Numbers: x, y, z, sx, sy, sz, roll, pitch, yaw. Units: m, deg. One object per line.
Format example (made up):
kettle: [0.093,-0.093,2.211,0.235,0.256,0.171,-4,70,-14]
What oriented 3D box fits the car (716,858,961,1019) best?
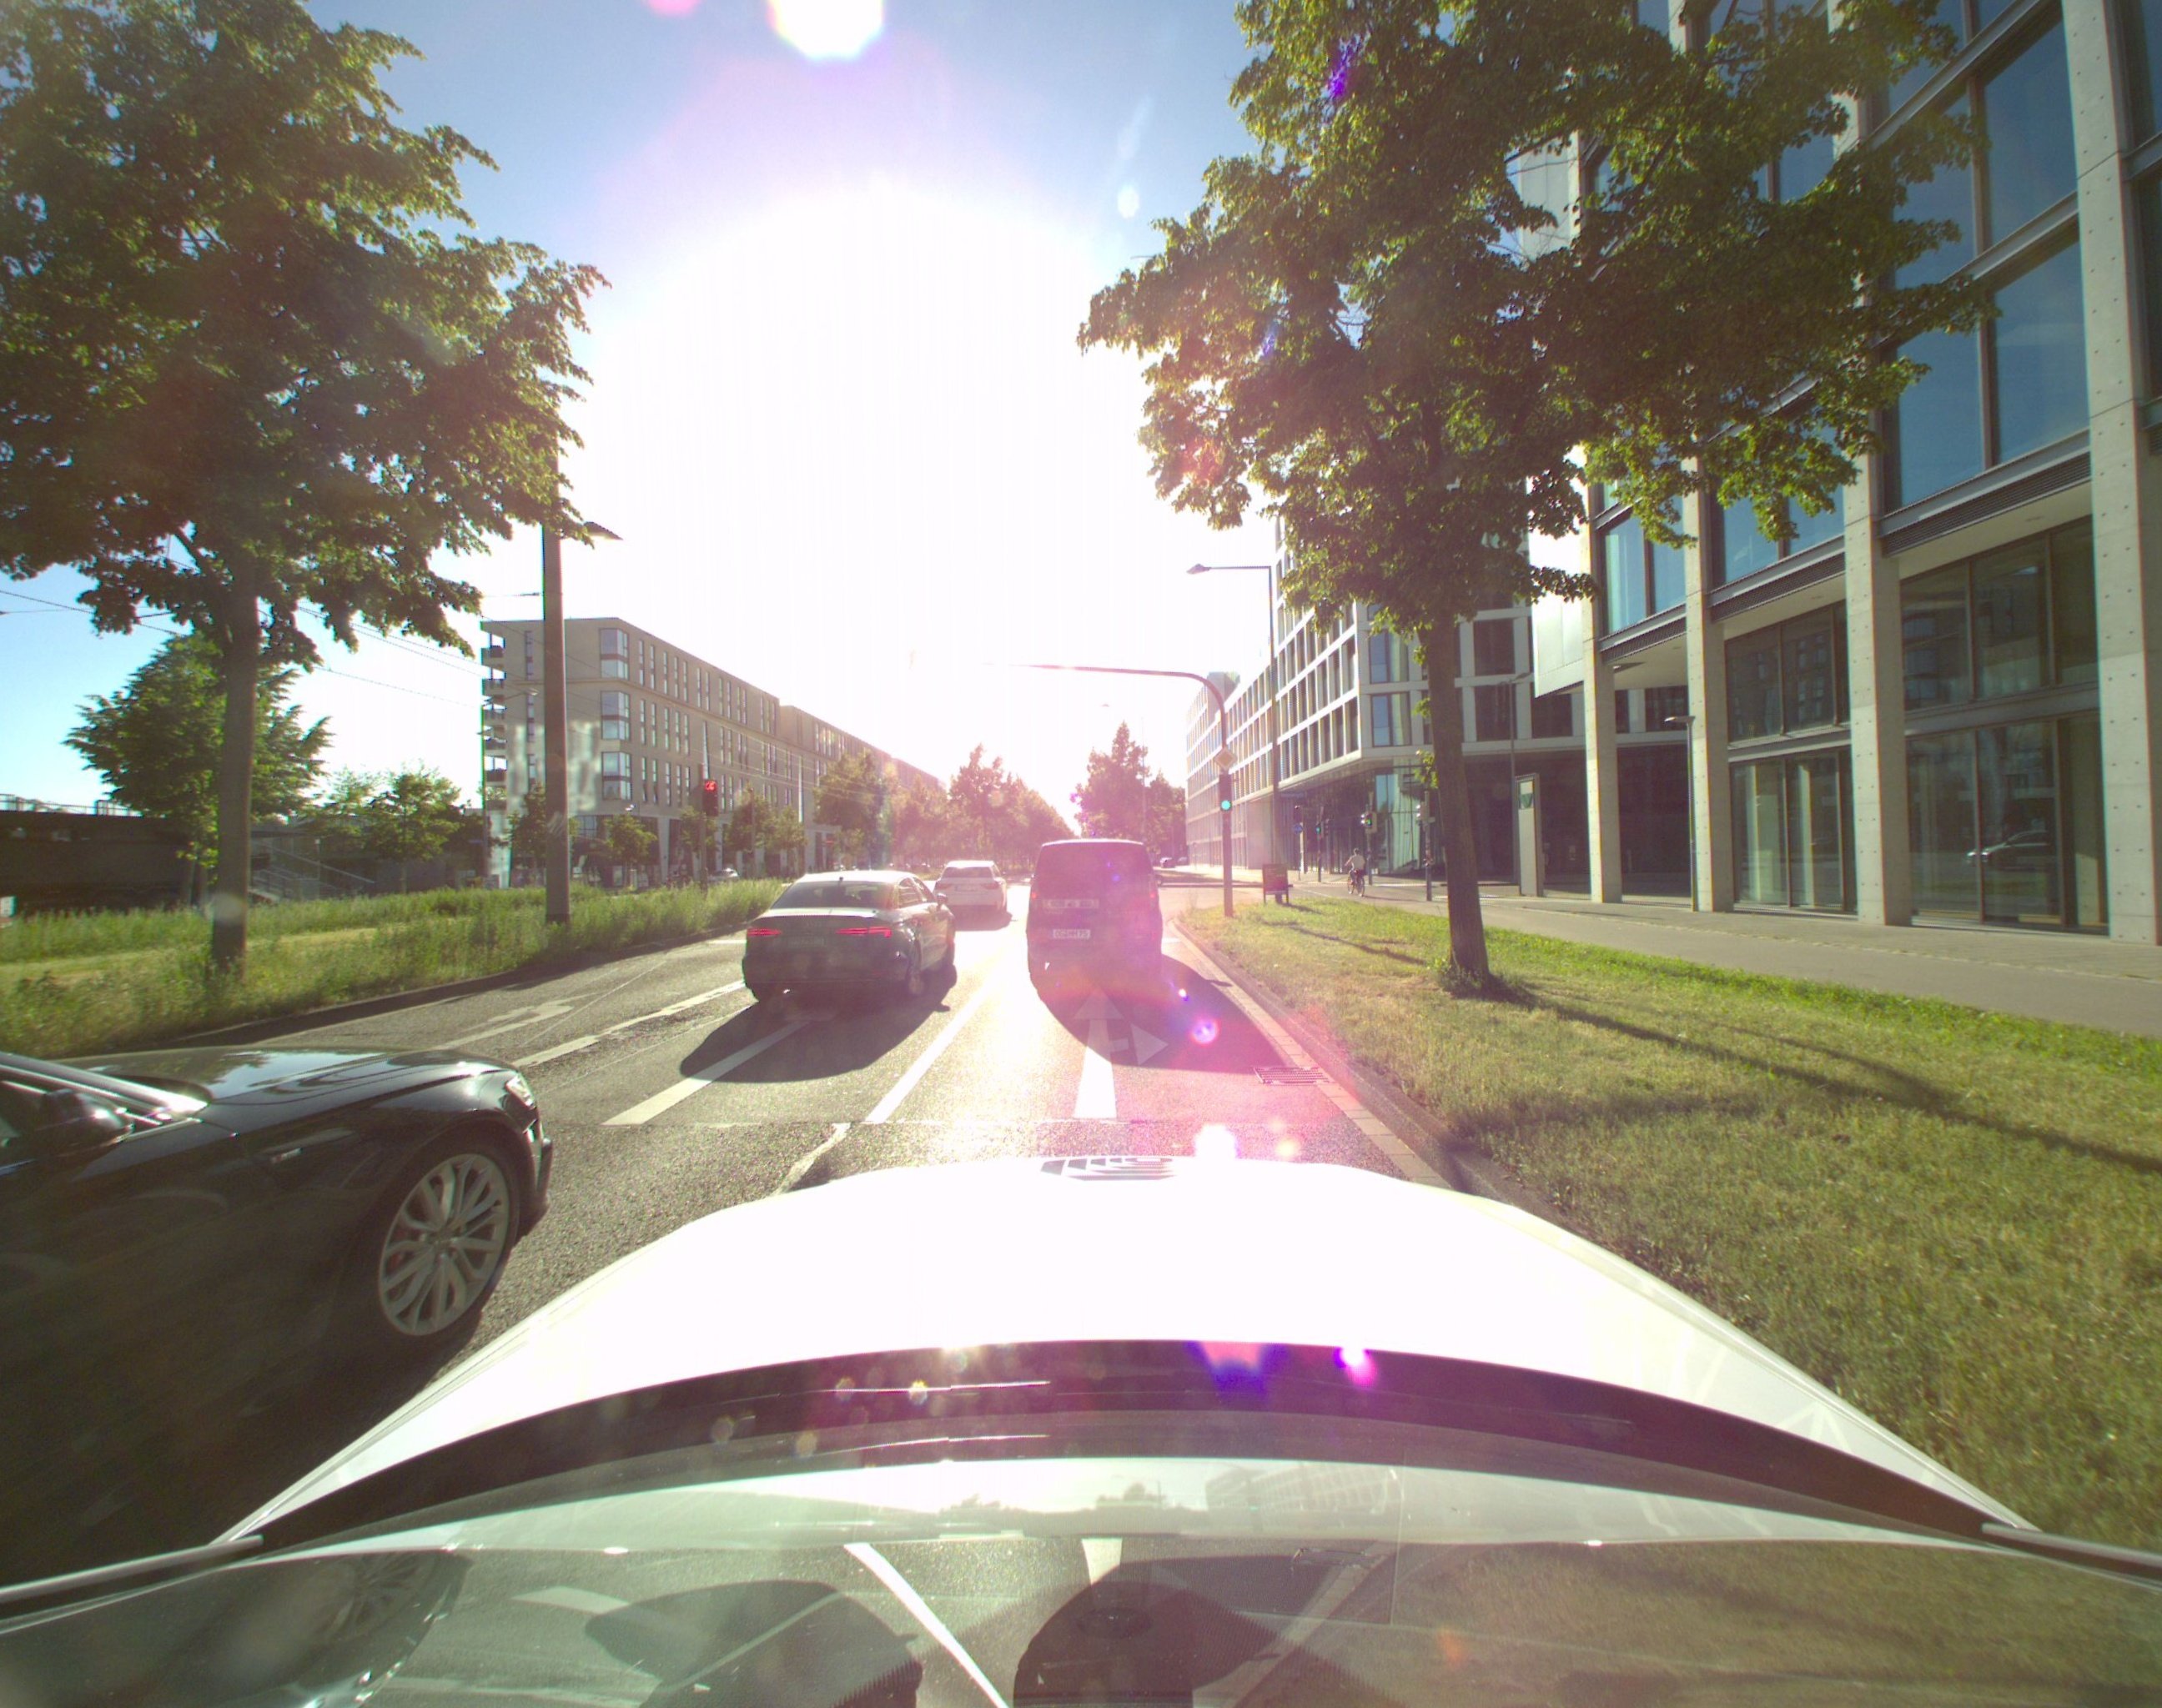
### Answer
car: [-2.691,0.841,10.079,1.803,1.527,4.111,-1,0,-1]

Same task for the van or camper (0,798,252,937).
van or camper: [-33.942,0.448,26.744,2.743,4.192,10.232,-1,-1,2]

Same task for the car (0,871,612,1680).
car: [-2.916,0.815,1.136,1.801,1.457,4.509,-1,0,1]

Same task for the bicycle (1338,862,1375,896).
bicycle: [10.201,0.912,30.219,0.739,1.174,1.962,-2,1,1]

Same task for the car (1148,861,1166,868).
car: [14.979,2.123,160.354,3.380,1.358,1.474,-2,-1,7]

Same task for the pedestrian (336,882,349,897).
pedestrian: [-59.529,2.850,65.641,0.437,1.125,0.600,-1,-1,3]

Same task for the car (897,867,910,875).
car: [-31.469,2.984,144.464,1.574,1.342,3.712,-2,-1,1]

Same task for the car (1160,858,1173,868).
car: [13.344,1.342,127.386,1.811,1.532,3.441,-2,-1,5]

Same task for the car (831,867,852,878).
car: [-31.238,2.387,106.233,1.574,1.342,3.712,-2,-1,1]

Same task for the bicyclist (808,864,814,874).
bicyclist: [-36.557,2.037,110.264,0.577,1.293,0.703,-1,-1,-6]

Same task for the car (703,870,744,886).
car: [-32.134,2.113,73.297,1.574,1.342,4.472,-2,-1,1]

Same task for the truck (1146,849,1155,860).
truck: [16.443,0.061,193.119,1.825,2.501,5.933,-1,-1,1]

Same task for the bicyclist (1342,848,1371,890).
bicyclist: [10.170,0.547,30.067,0.768,1.531,0.850,-2,0,1]

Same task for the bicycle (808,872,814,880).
bicycle: [-36.546,2.996,110.210,0.527,1.111,1.634,-1,-1,-6]

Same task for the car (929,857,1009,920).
car: [-2.848,0.835,21.463,1.805,1.434,4.106,-1,0,-5]

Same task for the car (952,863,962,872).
car: [-29.445,3.287,193.936,1.724,2.013,3.998,-1,0,-1]

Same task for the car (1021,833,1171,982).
car: [0.256,0.665,12.078,1.801,1.794,4.115,-1,0,2]

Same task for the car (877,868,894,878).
car: [-31.577,3.021,131.743,1.770,1.528,3.806,-2,-1,1]

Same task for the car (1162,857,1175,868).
car: [13.095,1.299,122.184,1.751,1.611,3.906,-1,0,3]
